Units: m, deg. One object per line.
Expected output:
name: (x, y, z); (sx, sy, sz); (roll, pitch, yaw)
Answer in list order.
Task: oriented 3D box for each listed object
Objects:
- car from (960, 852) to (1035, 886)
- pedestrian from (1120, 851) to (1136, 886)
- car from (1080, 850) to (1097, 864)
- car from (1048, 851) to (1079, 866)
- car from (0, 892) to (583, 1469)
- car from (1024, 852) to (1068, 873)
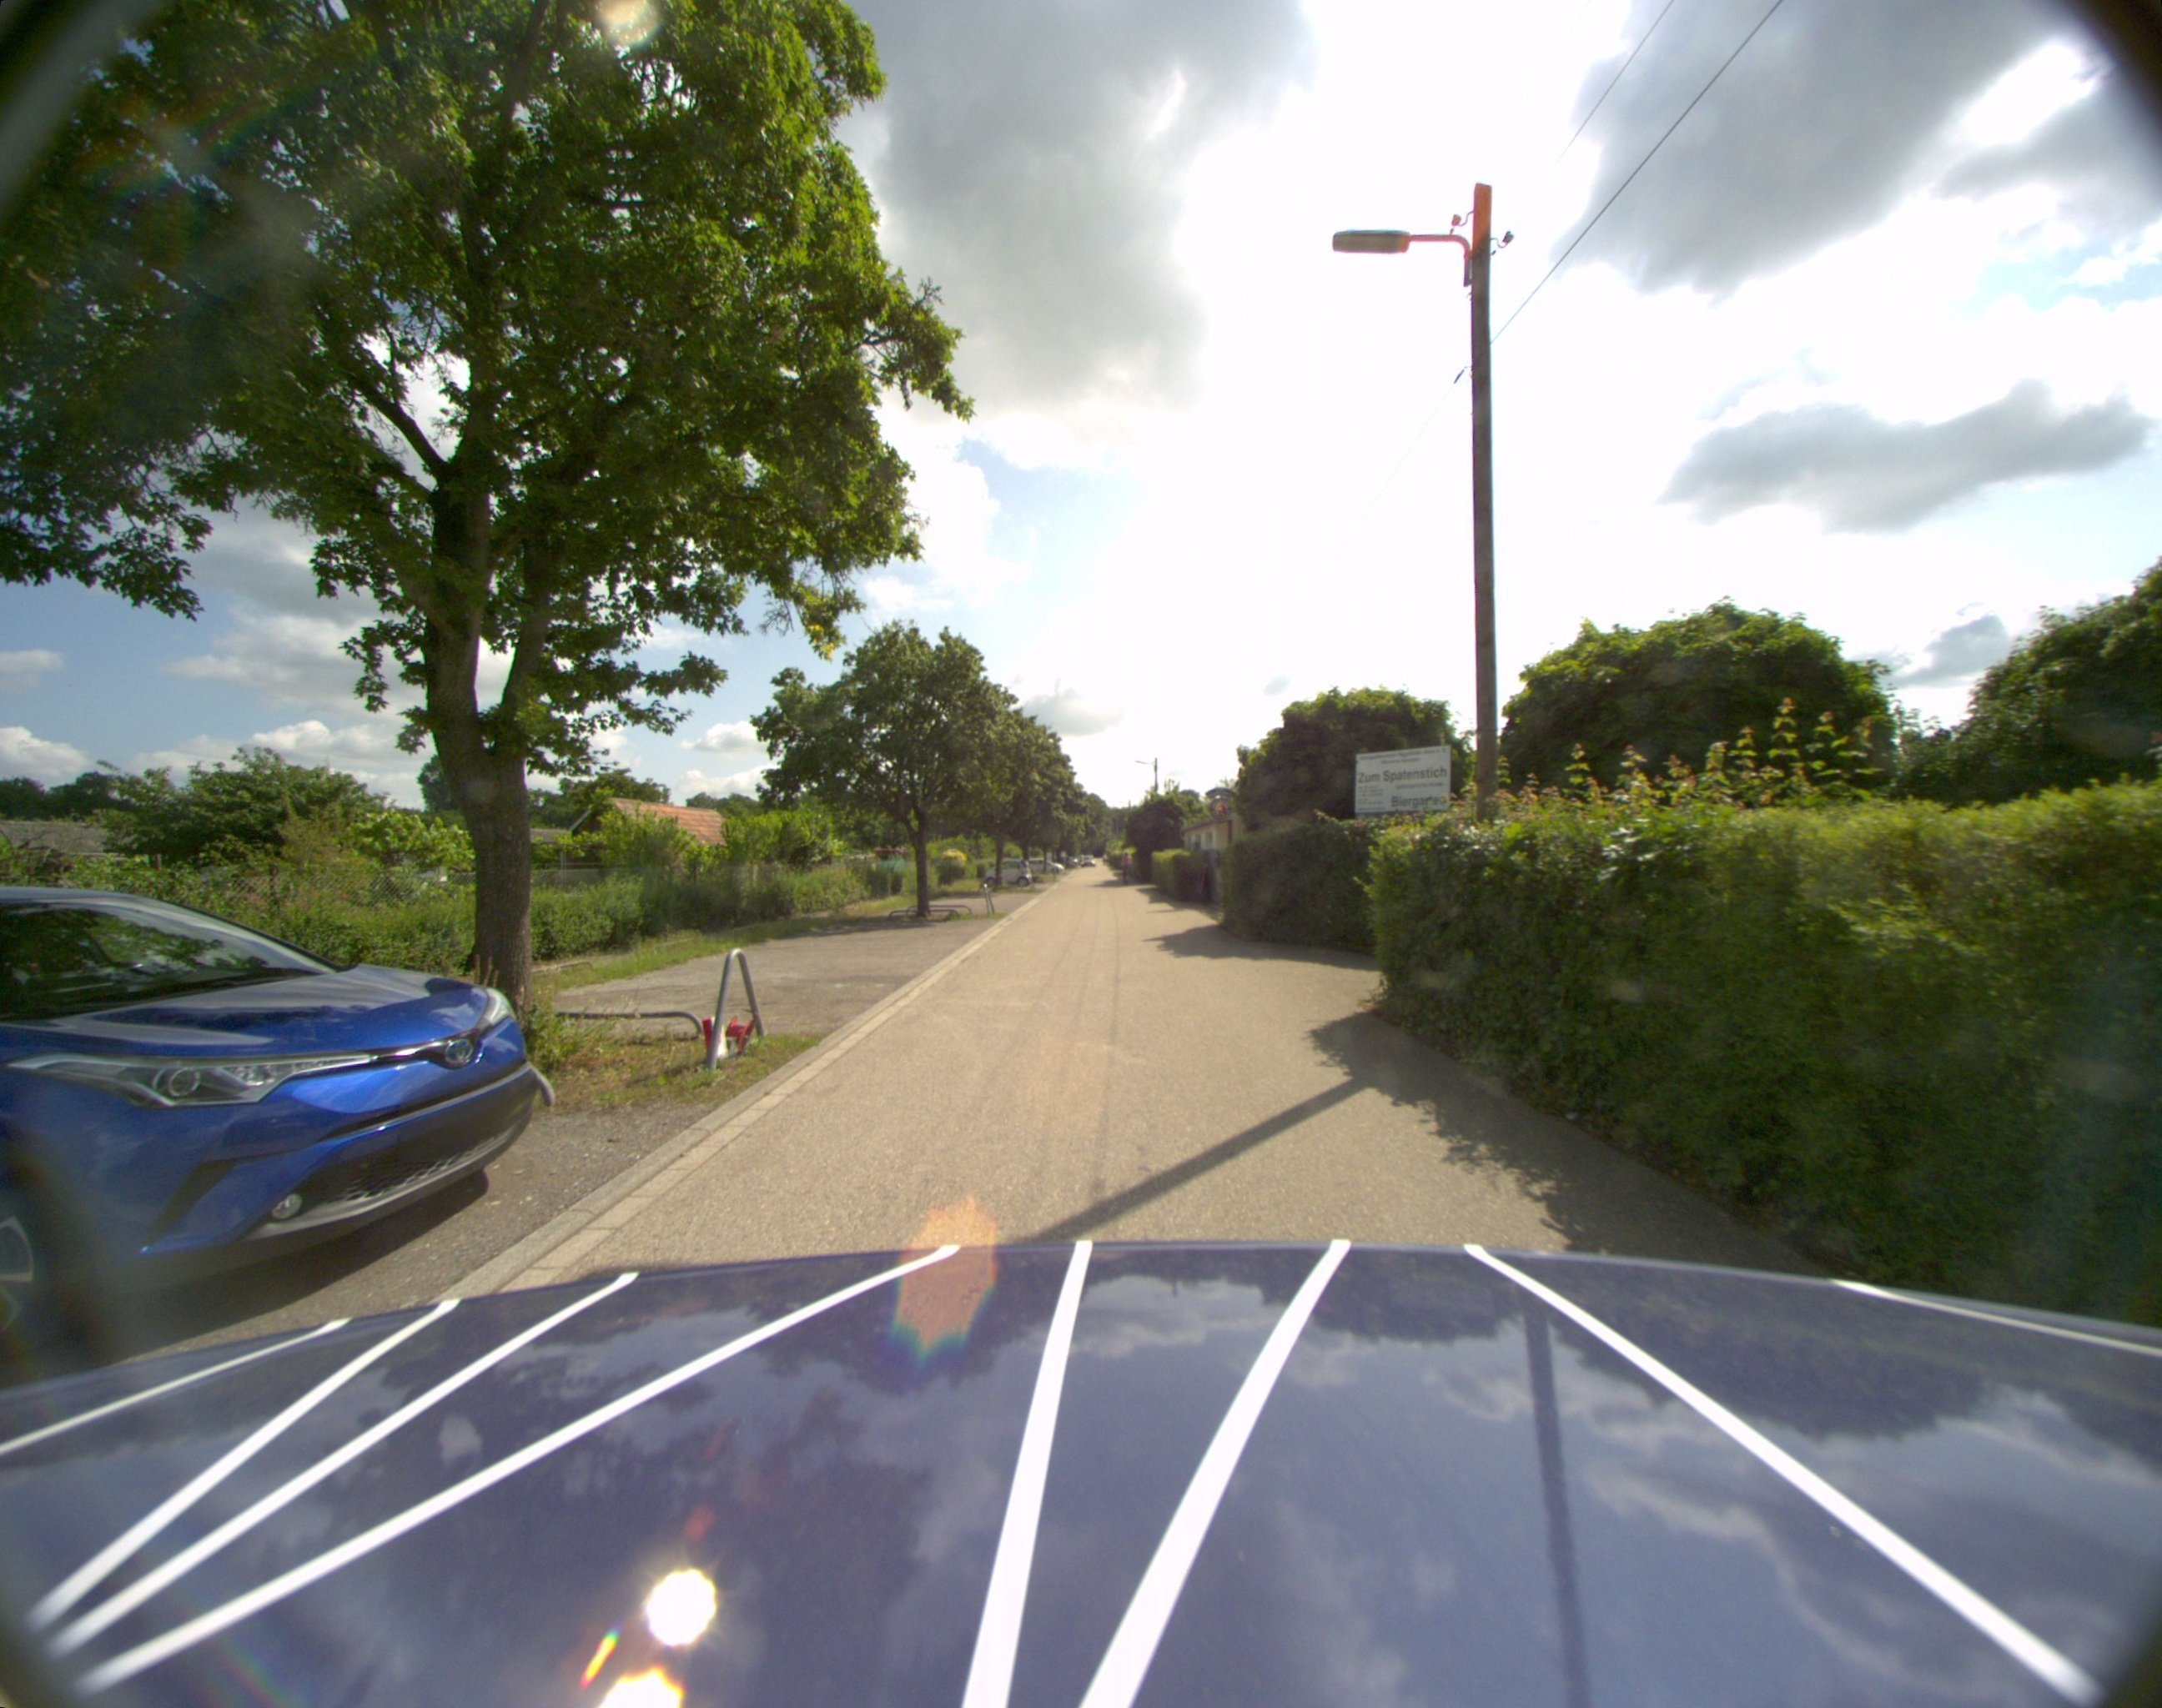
car: (-4.704, 0.830, 43.038); (3.928, 1.740, 2.000); (-2, 1, 1)
pedestrian: (2.350, 0.732, 38.082); (0.701, 1.701, 0.788); (-2, 1, 1)
car: (1.028, 0.331, 101.439); (1.998, 1.740, 3.932); (-2, 1, 3)
car: (-2.281, 0.627, 100.168); (3.998, 1.824, 1.999); (-2, 1, -2)
car: (-4.678, 1.016, 3.071); (4.116, 1.573, 1.781); (-1, 0, 0)
car: (-3.239, 0.774, 71.630); (3.928, 1.740, 2.000); (-2, 1, 1)
